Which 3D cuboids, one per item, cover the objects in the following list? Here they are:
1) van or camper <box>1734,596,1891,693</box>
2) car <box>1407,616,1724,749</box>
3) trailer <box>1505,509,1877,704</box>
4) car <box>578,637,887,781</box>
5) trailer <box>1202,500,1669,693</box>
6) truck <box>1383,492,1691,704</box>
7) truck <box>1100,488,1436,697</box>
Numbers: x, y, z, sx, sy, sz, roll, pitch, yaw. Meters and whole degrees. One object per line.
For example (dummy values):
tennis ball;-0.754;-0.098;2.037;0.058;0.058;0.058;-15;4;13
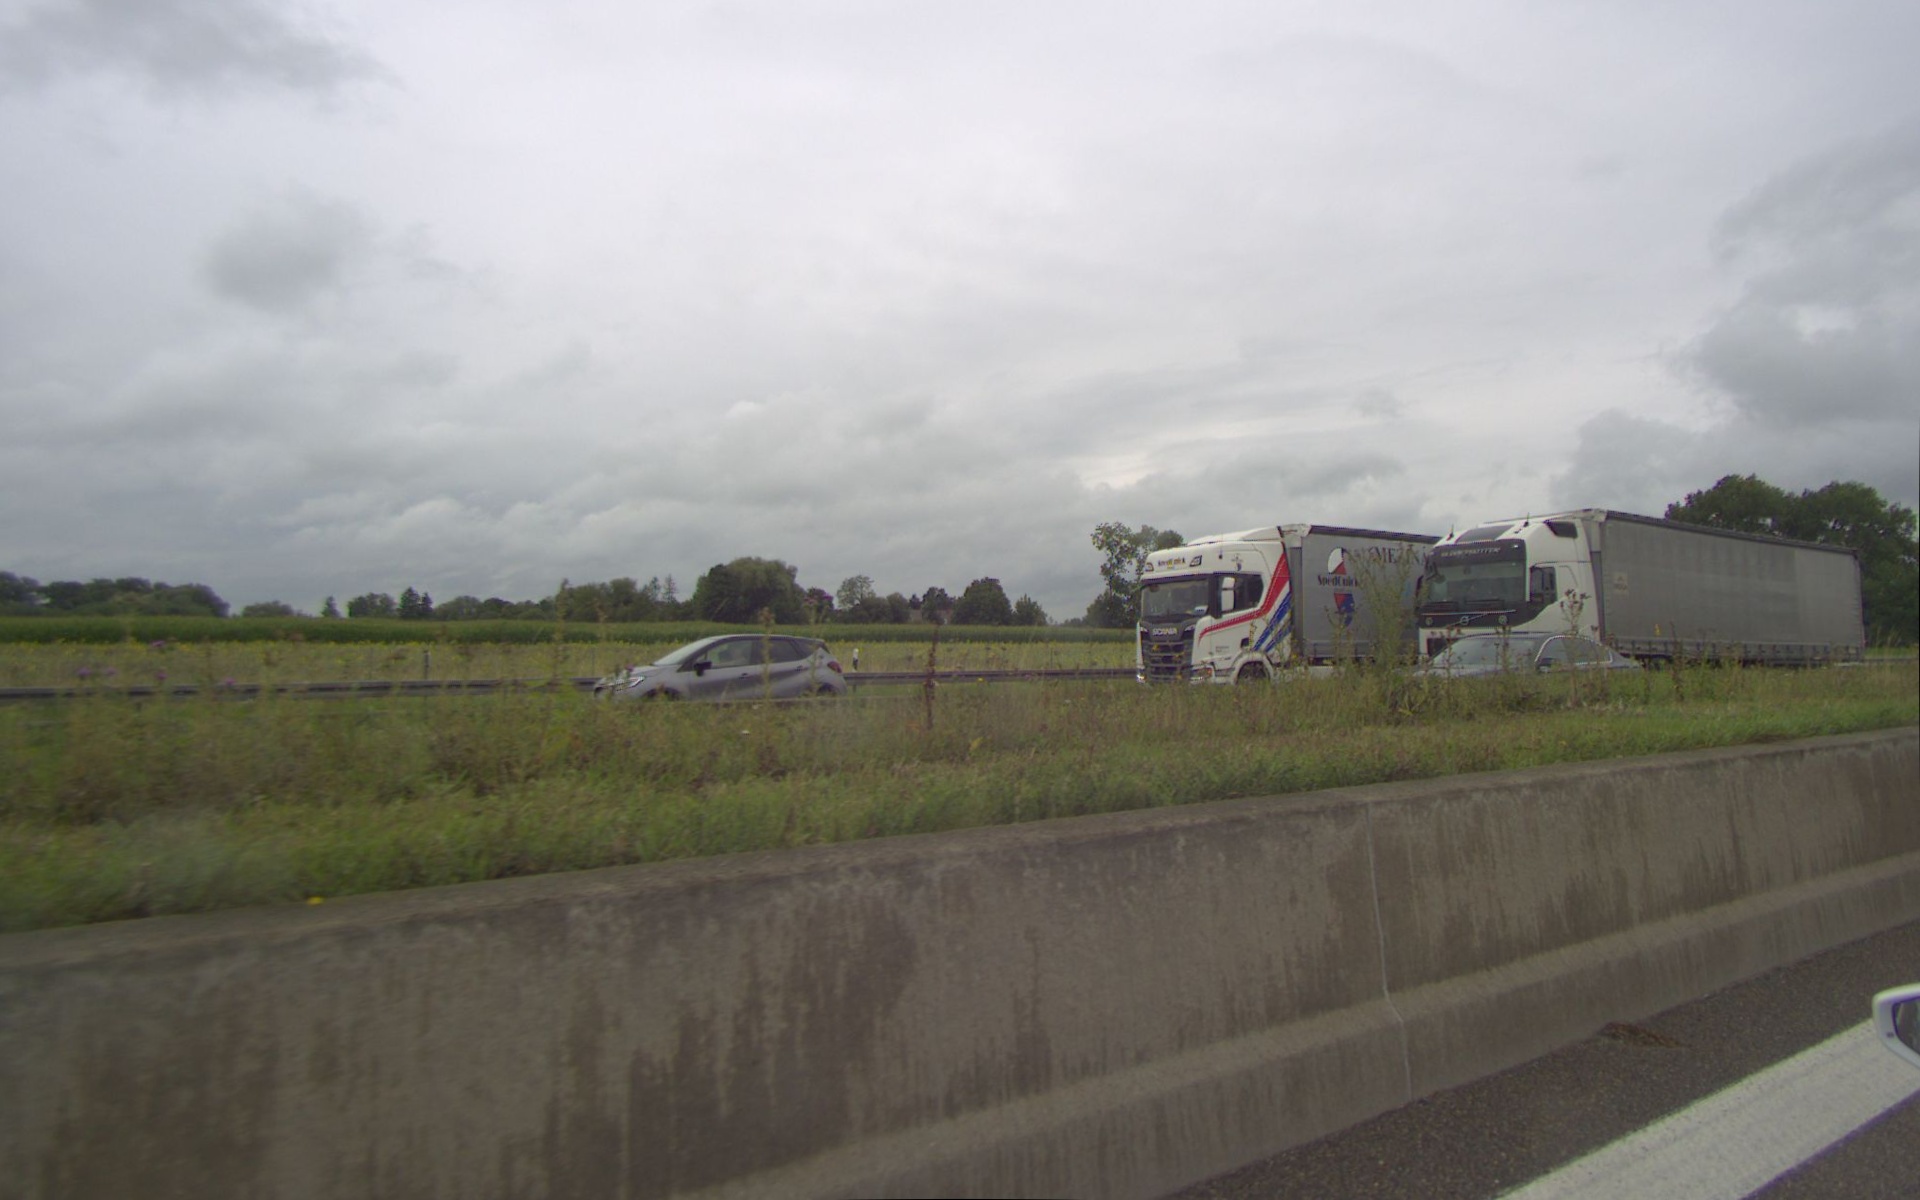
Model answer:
van or camper;34.455;1.767;40.495;7.617;3.550;2.693;2;0;-33
car;9.216;1.139;15.224;4.742;1.733;2.084;1;-1;-30
trailer;19.087;0.309;25.784;12.186;4.143;3.071;2;0;-31
car;-3.677;1.649;16.463;4.567;2.040;1.984;1;-2;-30
trailer;13.815;0.144;28.027;15.442;4.328;3.695;2;0;-31
truck;12.675;0.048;21.996;6.297;4.028;3.077;2;0;-30
truck;7.502;-0.064;24.276;7.503;4.331;3.598;2;0;-30
